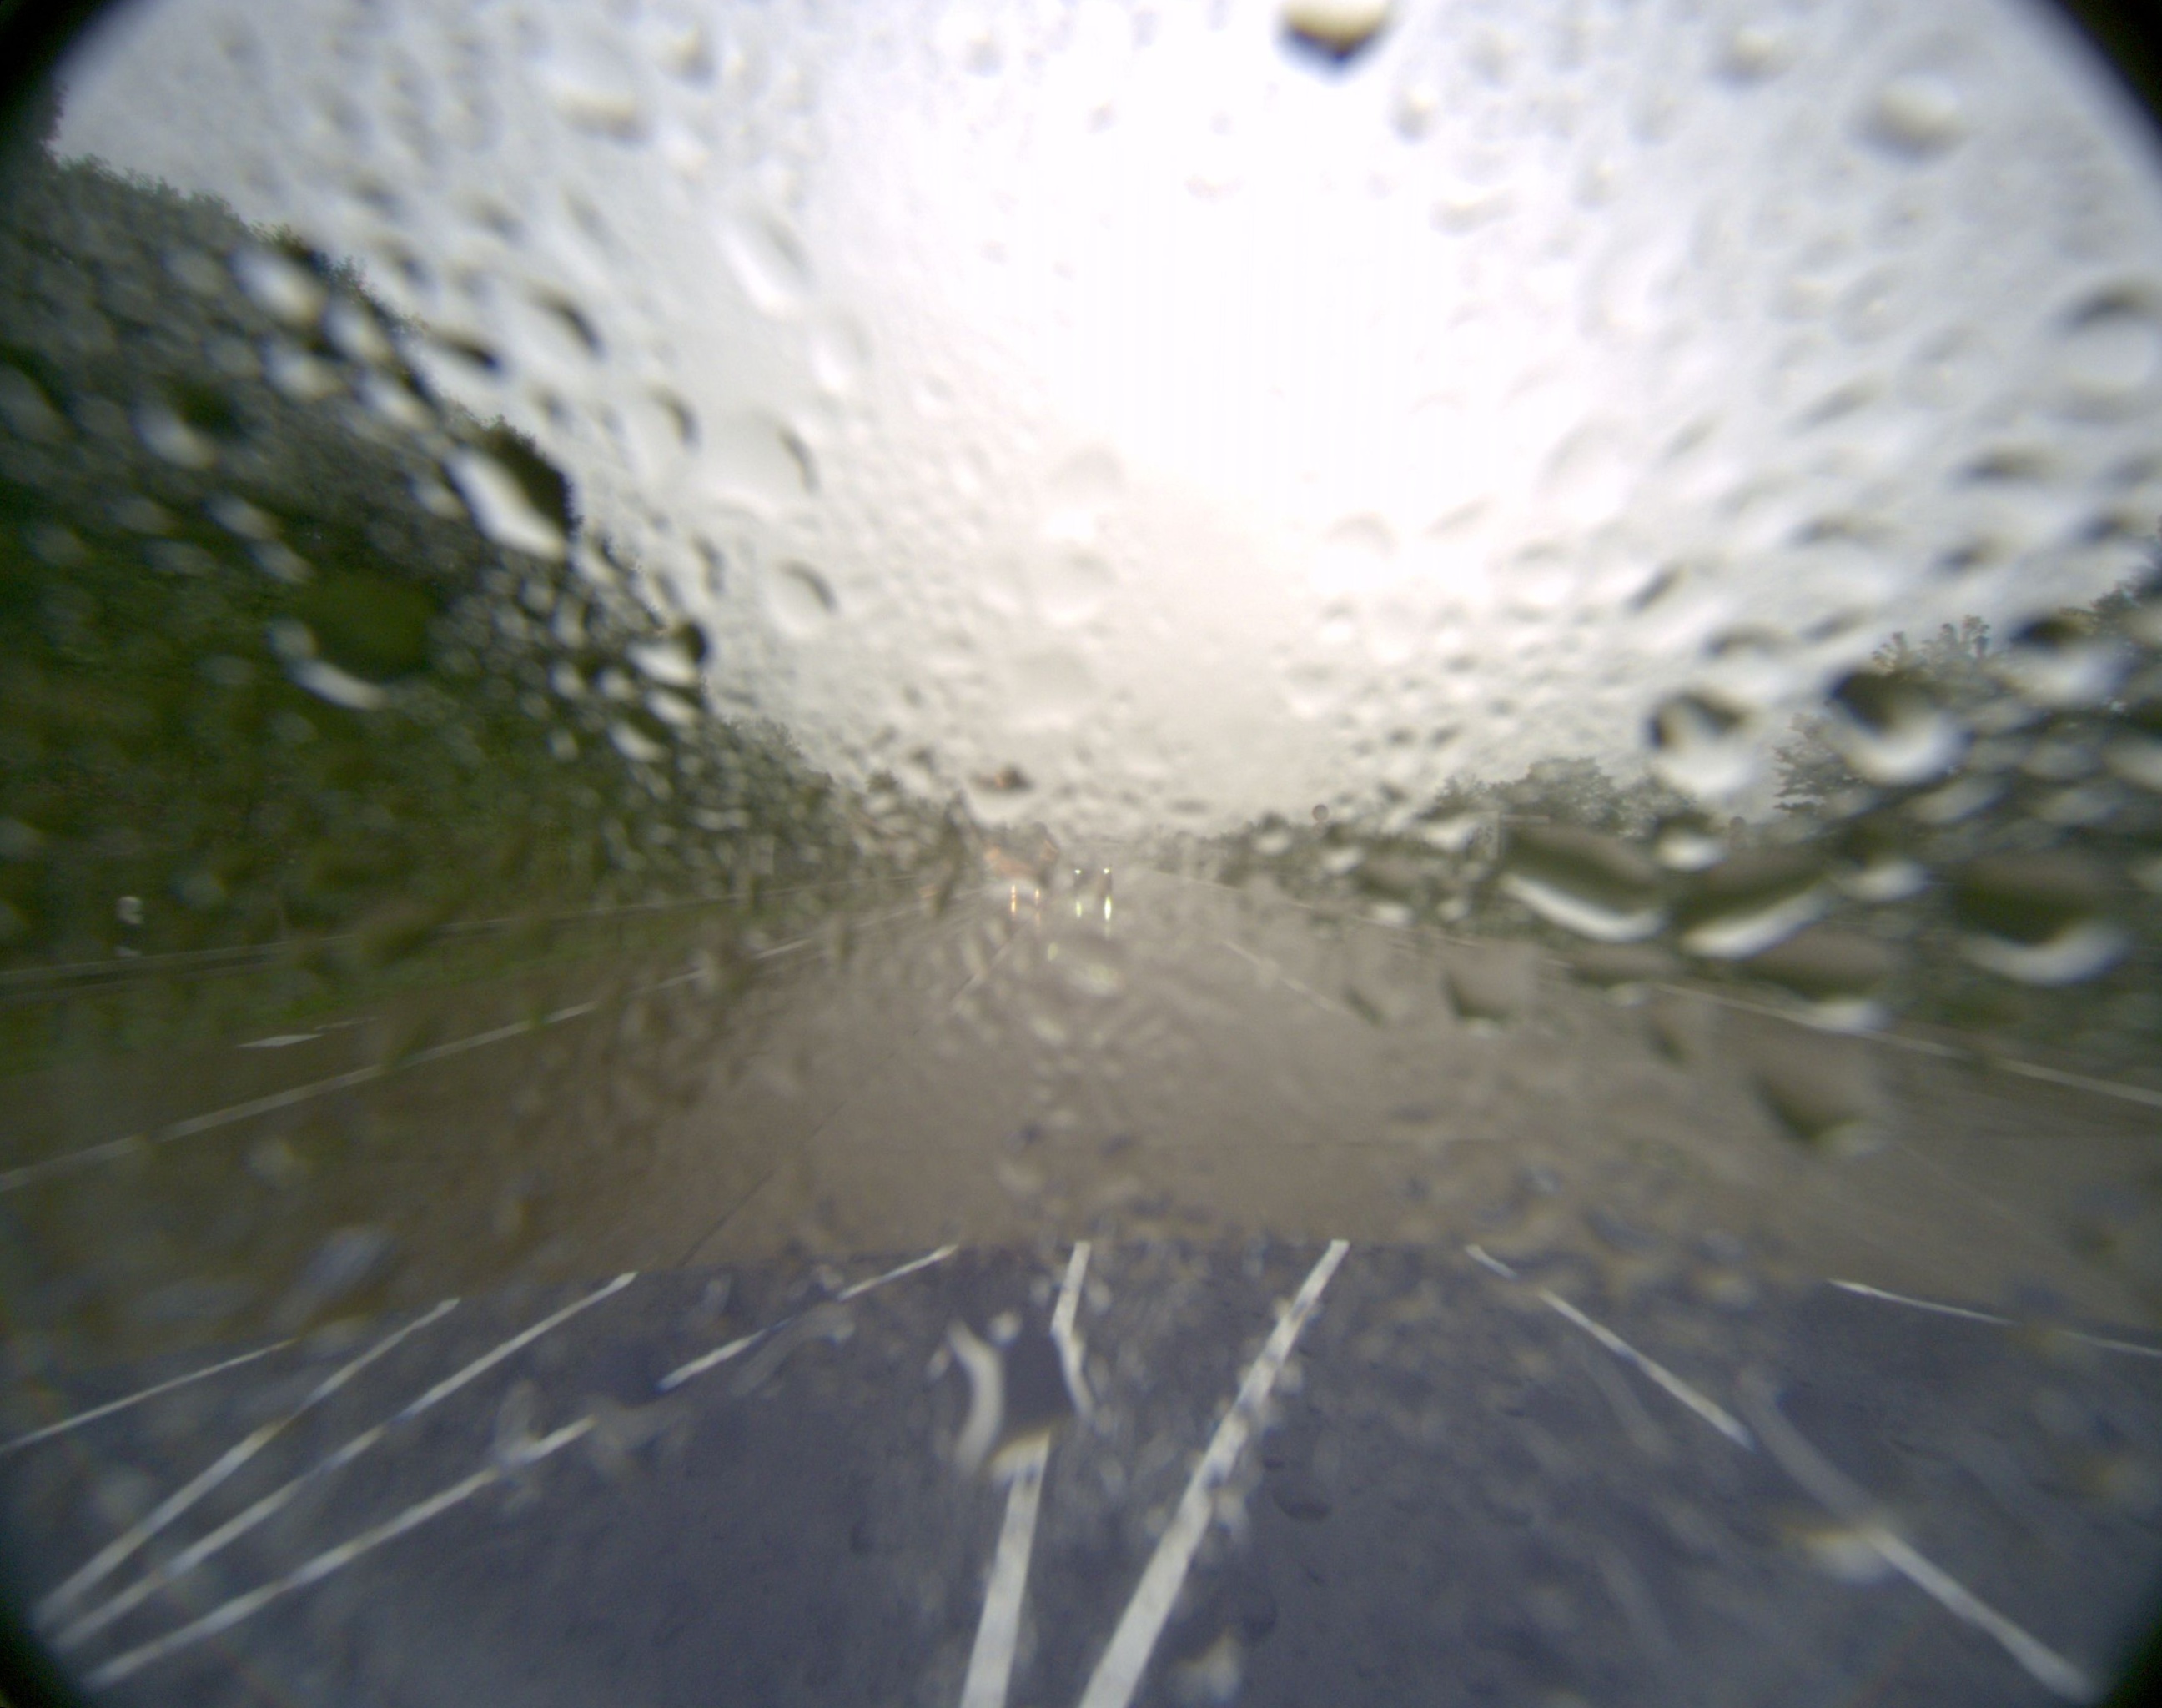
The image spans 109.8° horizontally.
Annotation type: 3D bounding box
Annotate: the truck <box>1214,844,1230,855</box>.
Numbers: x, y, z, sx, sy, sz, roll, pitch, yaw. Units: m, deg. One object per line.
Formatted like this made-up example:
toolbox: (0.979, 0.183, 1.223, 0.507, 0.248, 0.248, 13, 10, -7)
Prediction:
truck: (24.187, -0.783, 130.485, 2.017, 1.885, 4.740, -1, 0, 1)

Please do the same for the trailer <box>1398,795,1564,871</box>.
trailer: (22.040, -1.039, 43.099, 2.972, 3.653, 12.285, -1, 0, 0)

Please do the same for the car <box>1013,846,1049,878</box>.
car: (-3.256, 0.517, 50.102, 1.859, 2.002, 4.001, -1, 0, 3)

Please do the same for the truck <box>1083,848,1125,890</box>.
truck: (1.103, 0.682, 40.113, 1.998, 2.002, 7.575, 0, 0, 0)

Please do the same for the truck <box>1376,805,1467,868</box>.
truck: (22.099, -1.082, 49.811, 2.928, 3.741, 6.951, -1, 0, 1)
